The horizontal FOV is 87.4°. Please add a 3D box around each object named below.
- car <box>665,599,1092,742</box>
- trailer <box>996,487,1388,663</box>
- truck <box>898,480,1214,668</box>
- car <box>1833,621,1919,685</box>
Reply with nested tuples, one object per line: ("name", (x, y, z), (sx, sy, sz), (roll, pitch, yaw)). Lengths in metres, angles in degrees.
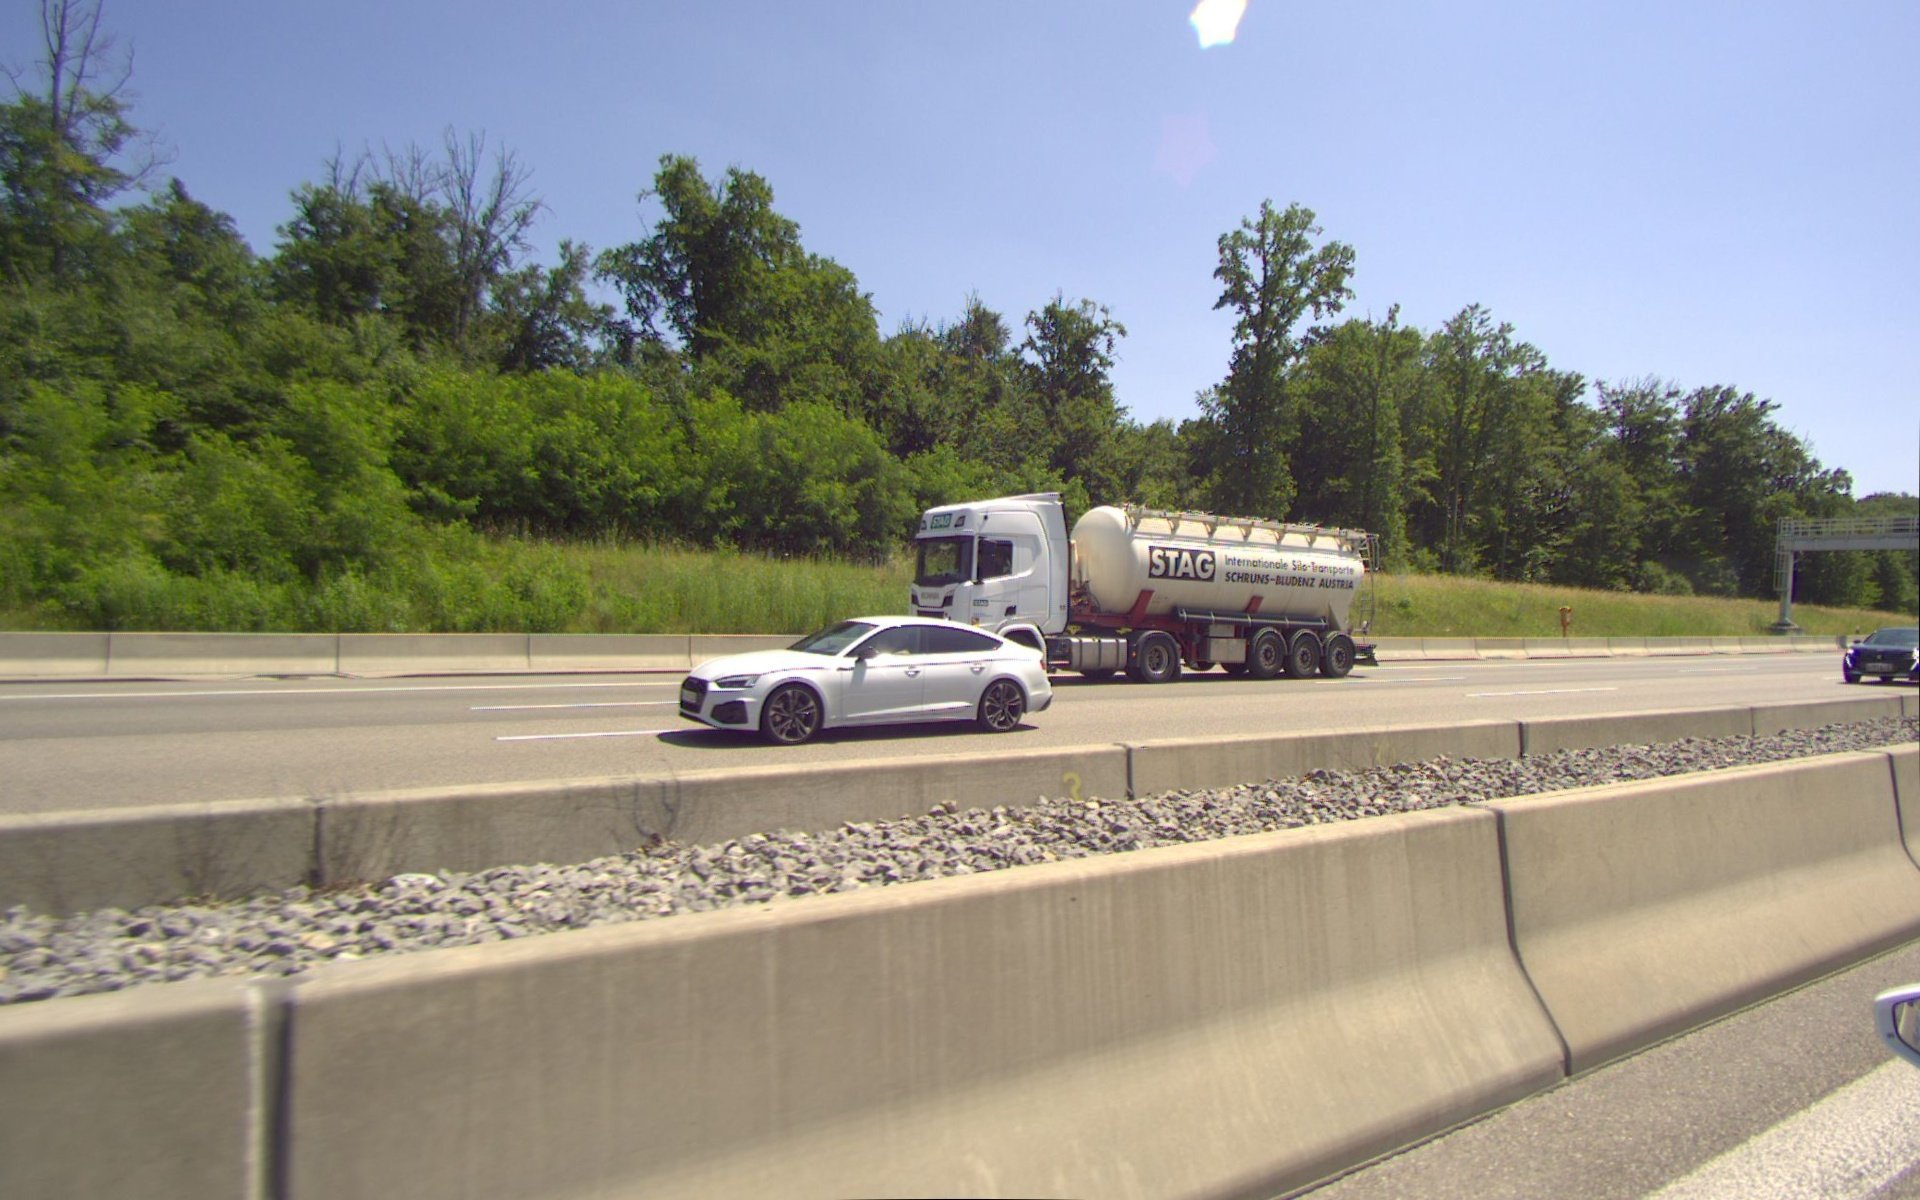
("car", (-0.908, 0.788, 12.559), (4.992, 1.479, 1.982), (2, -1, -33))
("trailer", (5.958, -0.360, 24.436), (10.378, 3.582, 2.637), (2, 0, -32))
("truck", (2.194, -0.402, 22.040), (6.548, 3.590, 2.689), (2, 0, -32))
("car", (25.766, 1.442, 27.367), (4.559, 1.546, 1.666), (2, 0, -32))
